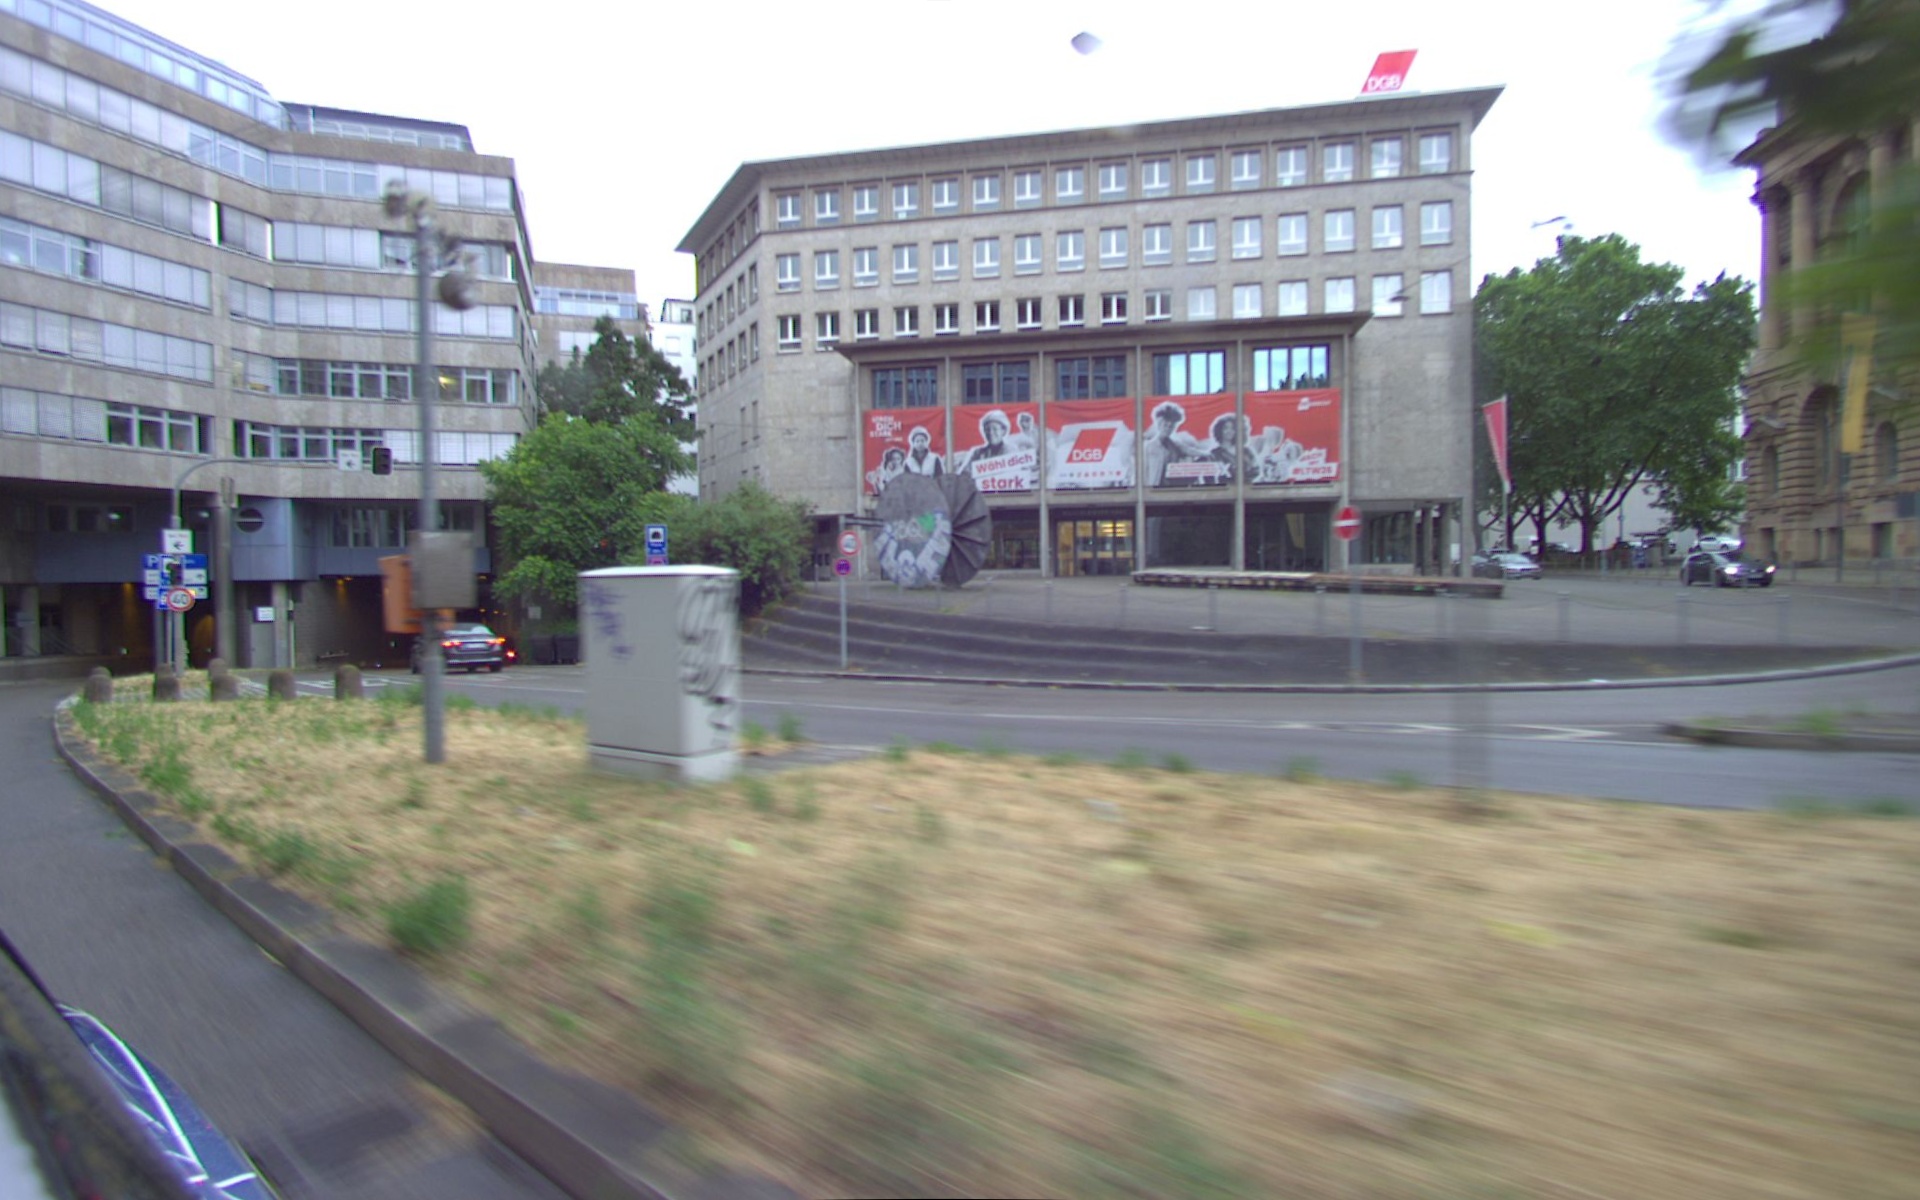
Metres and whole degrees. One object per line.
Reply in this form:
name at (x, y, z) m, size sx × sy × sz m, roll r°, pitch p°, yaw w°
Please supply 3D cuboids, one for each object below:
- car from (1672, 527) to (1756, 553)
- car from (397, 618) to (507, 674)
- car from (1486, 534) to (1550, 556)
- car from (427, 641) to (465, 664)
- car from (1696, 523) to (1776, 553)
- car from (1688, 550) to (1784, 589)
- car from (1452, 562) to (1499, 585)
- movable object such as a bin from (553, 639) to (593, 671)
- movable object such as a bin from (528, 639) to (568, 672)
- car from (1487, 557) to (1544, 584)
car at (70.570, -5.599, 94.901) m, size 2.276 × 1.971 × 6.309 m, roll -2°, pitch 0°, yaw -12°
car at (-15.268, 1.307, 30.284) m, size 1.968 × 1.504 × 4.851 m, roll 0°, pitch -1°, yaw -39°
car at (59.165, -5.781, 107.392) m, size 2.276 × 1.971 × 6.309 m, roll -2°, pitch 0°, yaw -12°
car at (-38.254, 3.921, 75.389) m, size 1.819 × 1.600 × 4.402 m, roll 0°, pitch -3°, yaw -17°
car at (77.237, -6.159, 100.859) m, size 2.276 × 2.580 × 6.309 m, roll -2°, pitch 0°, yaw -12°
car at (30.677, -1.177, 40.125) m, size 1.603 × 1.414 × 3.607 m, roll -2°, pitch 0°, yaw 13°
car at (29.729, -1.496, 58.422) m, size 1.604 × 1.257 × 3.606 m, roll -2°, pitch 0°, yaw 14°
movable object such as a bin at (-18.021, 2.557, 47.100) m, size 1.197 × 1.461 × 1.289 m, roll -2°, pitch -1°, yaw 18°
movable object such as a bin at (-19.357, 2.589, 47.516) m, size 1.325 × 1.461 × 1.164 m, roll -1°, pitch -1°, yaw 10°
car at (28.660, -1.508, 52.292) m, size 1.603 × 1.257 × 3.608 m, roll -2°, pitch 0°, yaw 13°
